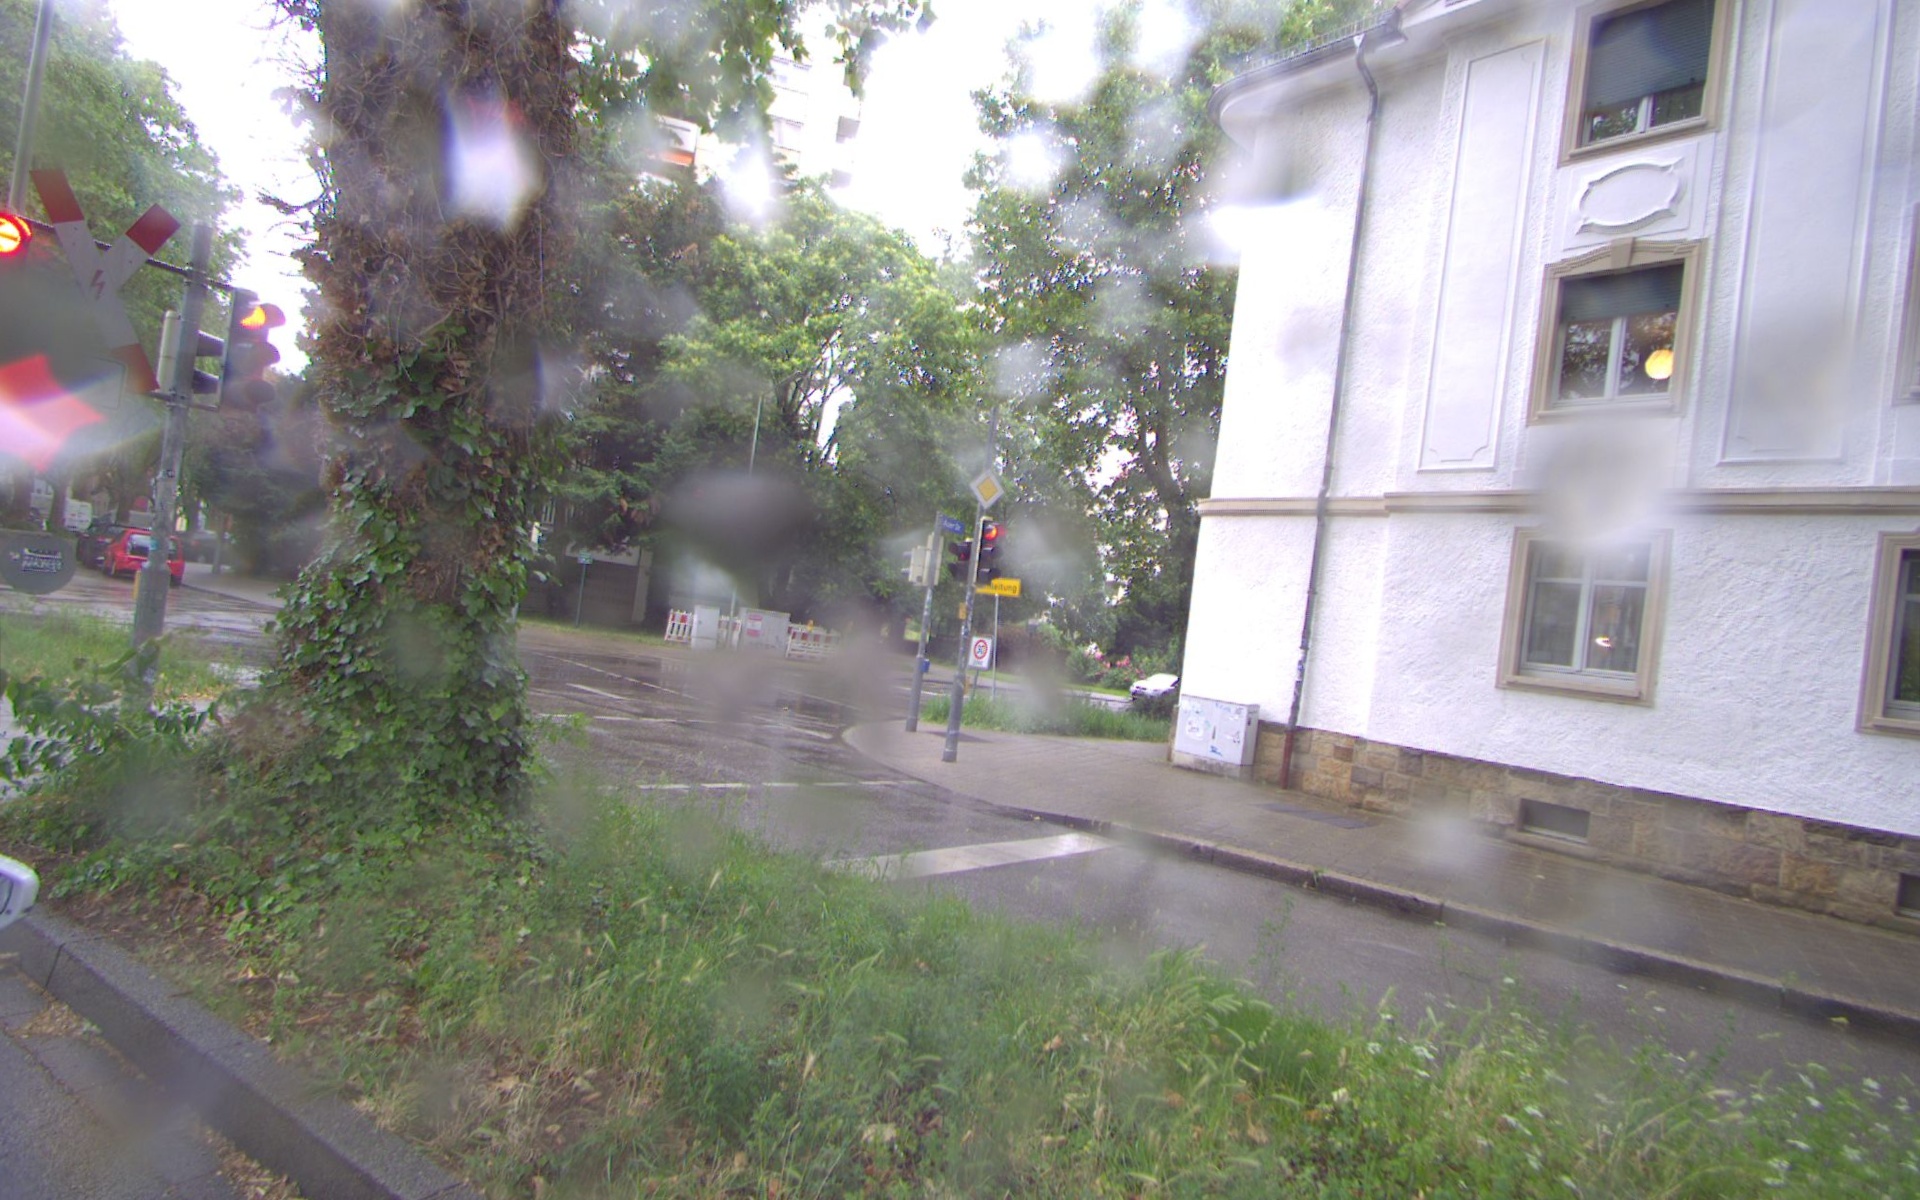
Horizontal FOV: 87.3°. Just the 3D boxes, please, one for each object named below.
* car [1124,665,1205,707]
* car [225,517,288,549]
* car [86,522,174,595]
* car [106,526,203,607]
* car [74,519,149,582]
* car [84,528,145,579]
[{"bbox_3d":[9.306,3.911,45.624,3.630,1.504,1.704,8,0,-43],"label":"car"},{"bbox_3d":[-57.174,-5.452,81.832,3.969,2.038,1.689,7,0,-39],"label":"car"},{"bbox_3d":[-27.968,-1.439,33.844,1.986,2.038,3.953,7,0,-42],"label":"car"},{"bbox_3d":[-24.745,-1.064,30.849,1.986,2.038,3.953,7,0,-42],"label":"car"},{"bbox_3d":[-32.877,-1.955,38.953,1.986,2.038,3.953,7,0,-42],"label":"car"},{"bbox_3d":[-40.640,-2.253,48.345,1.986,2.038,3.953,7,0,-42],"label":"car"}]
